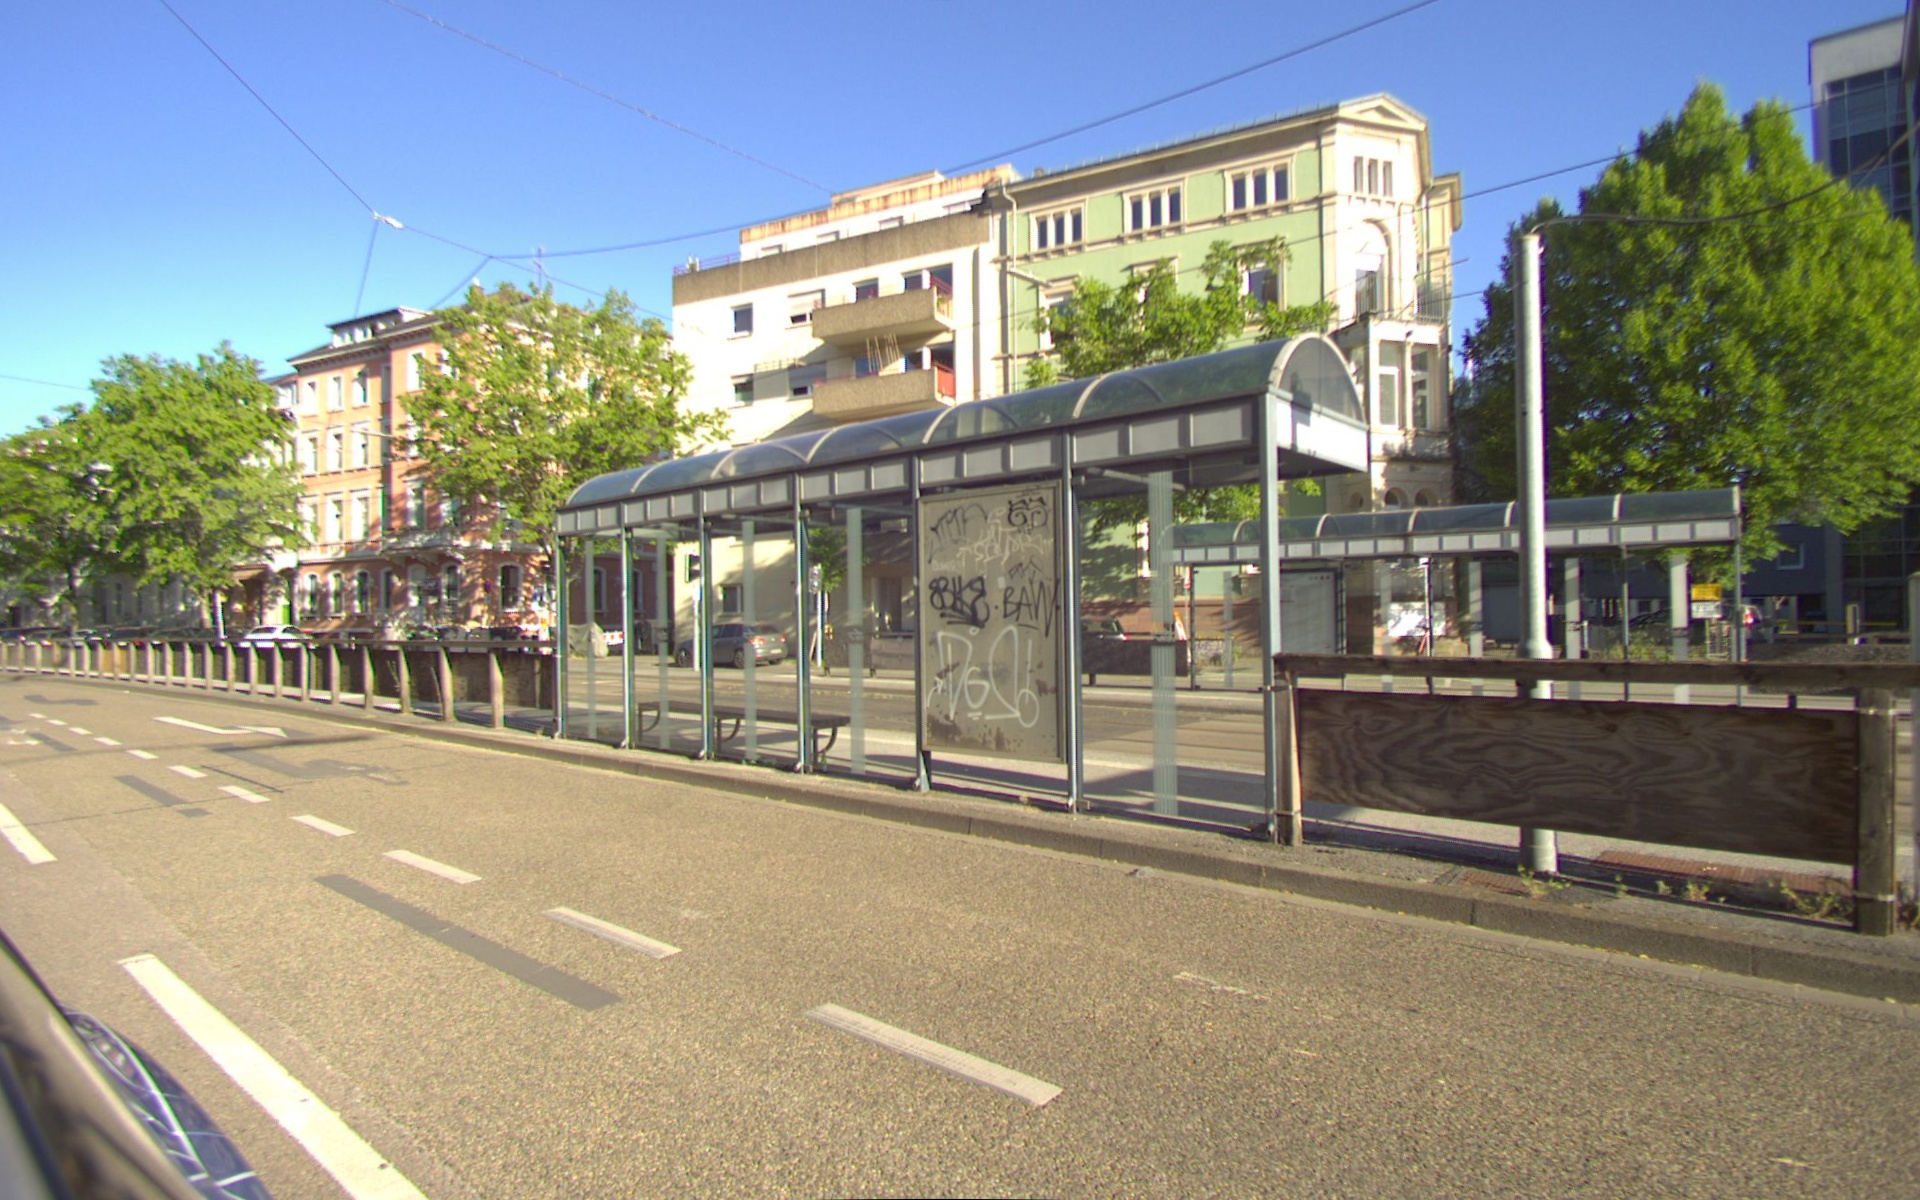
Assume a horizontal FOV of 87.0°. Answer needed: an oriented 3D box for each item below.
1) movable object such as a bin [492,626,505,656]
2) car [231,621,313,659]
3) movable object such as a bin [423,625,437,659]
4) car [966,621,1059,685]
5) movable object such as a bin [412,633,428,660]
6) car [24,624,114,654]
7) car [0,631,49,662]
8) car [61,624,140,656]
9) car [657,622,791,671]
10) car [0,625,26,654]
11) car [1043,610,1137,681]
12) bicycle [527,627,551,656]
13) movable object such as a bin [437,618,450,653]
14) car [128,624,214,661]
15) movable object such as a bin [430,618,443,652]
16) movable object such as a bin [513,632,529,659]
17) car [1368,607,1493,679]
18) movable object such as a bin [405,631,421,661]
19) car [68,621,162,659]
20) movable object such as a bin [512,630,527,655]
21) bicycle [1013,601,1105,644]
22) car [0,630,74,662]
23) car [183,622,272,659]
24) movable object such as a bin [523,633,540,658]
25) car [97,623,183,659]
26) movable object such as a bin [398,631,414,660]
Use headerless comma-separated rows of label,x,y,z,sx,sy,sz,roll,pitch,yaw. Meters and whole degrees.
movable object such as a bin,-20.259,1.796,44.408,0.387,1.322,0.376,-1,-2,34
car,-32.943,1.868,48.592,1.708,1.533,3.924,-2,1,-9
movable object such as a bin,-22.358,1.761,42.694,0.387,1.437,0.375,-2,-2,40
car,1.296,1.327,26.787,1.845,1.436,4.520,0,0,-5
movable object such as a bin,-22.267,1.922,41.731,0.639,1.076,0.375,-2,-2,40
car,-50.114,2.165,57.023,1.745,1.496,3.823,-1,1,-1
car,-57.191,2.791,60.682,1.748,1.667,3.872,-1,0,-1
car,-47.864,2.201,56.451,1.682,1.544,3.284,-2,2,-4
car,-7.691,1.477,32.867,4.278,1.421,1.693,-1,1,32
car,-62.423,2.590,64.637,1.760,1.812,4.202,-1,1,-1
car,3.371,1.128,27.046,1.566,1.654,4.520,0,0,-5
bicycle,-16.575,1.616,39.848,1.404,1.125,0.261,-2,-2,40
movable object such as a bin,-21.574,1.494,42.289,0.387,1.437,0.375,-2,-2,40
car,-40.319,2.132,51.818,1.609,1.629,3.993,-2,1,-7
movable object such as a bin,-21.995,1.461,42.510,0.385,1.437,0.375,-2,-2,40
movable object such as a bin,-18.497,1.922,42.632,0.551,1.105,0.376,0,-1,34
car,11.630,0.995,25.325,1.572,1.581,4.504,0,0,8
movable object such as a bin,-22.811,1.901,42.180,0.639,1.251,0.375,-2,-2,40
car,-45.703,2.106,54.859,1.682,1.735,4.290,-1,2,-4
movable object such as a bin,-19.637,1.909,45.093,0.551,1.107,0.376,-1,-2,34
bicycle,3.300,0.761,33.837,2.995,1.409,0.713,-1,-2,27
car,-54.297,2.678,59.124,1.748,1.667,3.871,-1,0,-1
car,-35.790,1.932,49.575,1.664,1.519,3.926,-2,1,-4
movable object such as a bin,-18.231,1.948,43.026,0.551,1.041,0.443,0,-1,34
car,-42.924,2.131,53.074,1.609,1.629,3.993,-2,1,-7
movable object such as a bin,-23.331,1.896,42.623,0.639,1.212,0.375,-2,-2,40
